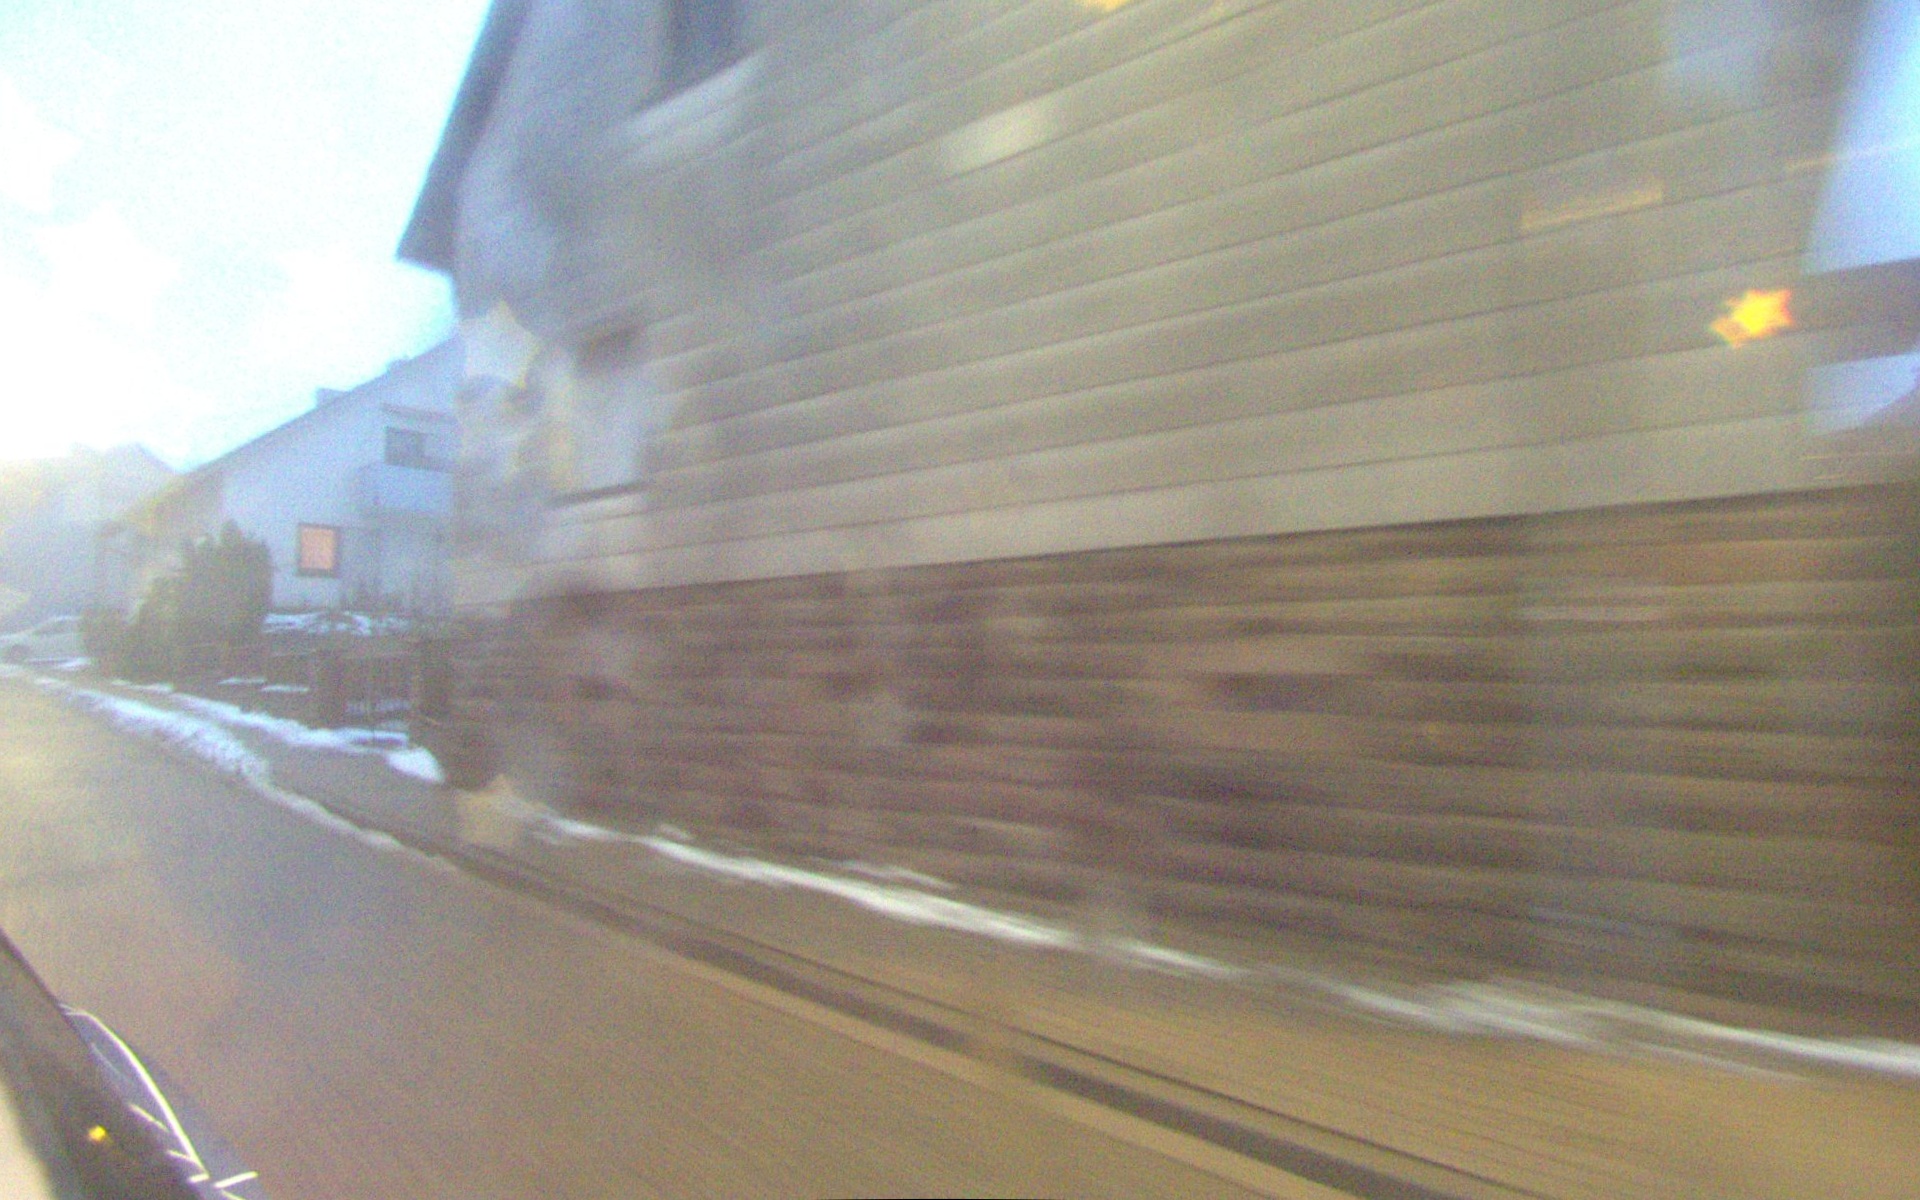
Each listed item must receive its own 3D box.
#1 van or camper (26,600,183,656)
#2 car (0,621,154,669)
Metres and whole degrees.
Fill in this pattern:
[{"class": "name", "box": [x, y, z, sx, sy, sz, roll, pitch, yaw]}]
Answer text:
[{"class": "van or camper", "box": [-39.705, 1.359, 47.160, 2.125, 2.467, 5.280, 0, -3, 15]}, {"class": "car", "box": [-34.313, 1.725, 39.092, 1.890, 1.679, 4.740, -4, -3, 42]}]
